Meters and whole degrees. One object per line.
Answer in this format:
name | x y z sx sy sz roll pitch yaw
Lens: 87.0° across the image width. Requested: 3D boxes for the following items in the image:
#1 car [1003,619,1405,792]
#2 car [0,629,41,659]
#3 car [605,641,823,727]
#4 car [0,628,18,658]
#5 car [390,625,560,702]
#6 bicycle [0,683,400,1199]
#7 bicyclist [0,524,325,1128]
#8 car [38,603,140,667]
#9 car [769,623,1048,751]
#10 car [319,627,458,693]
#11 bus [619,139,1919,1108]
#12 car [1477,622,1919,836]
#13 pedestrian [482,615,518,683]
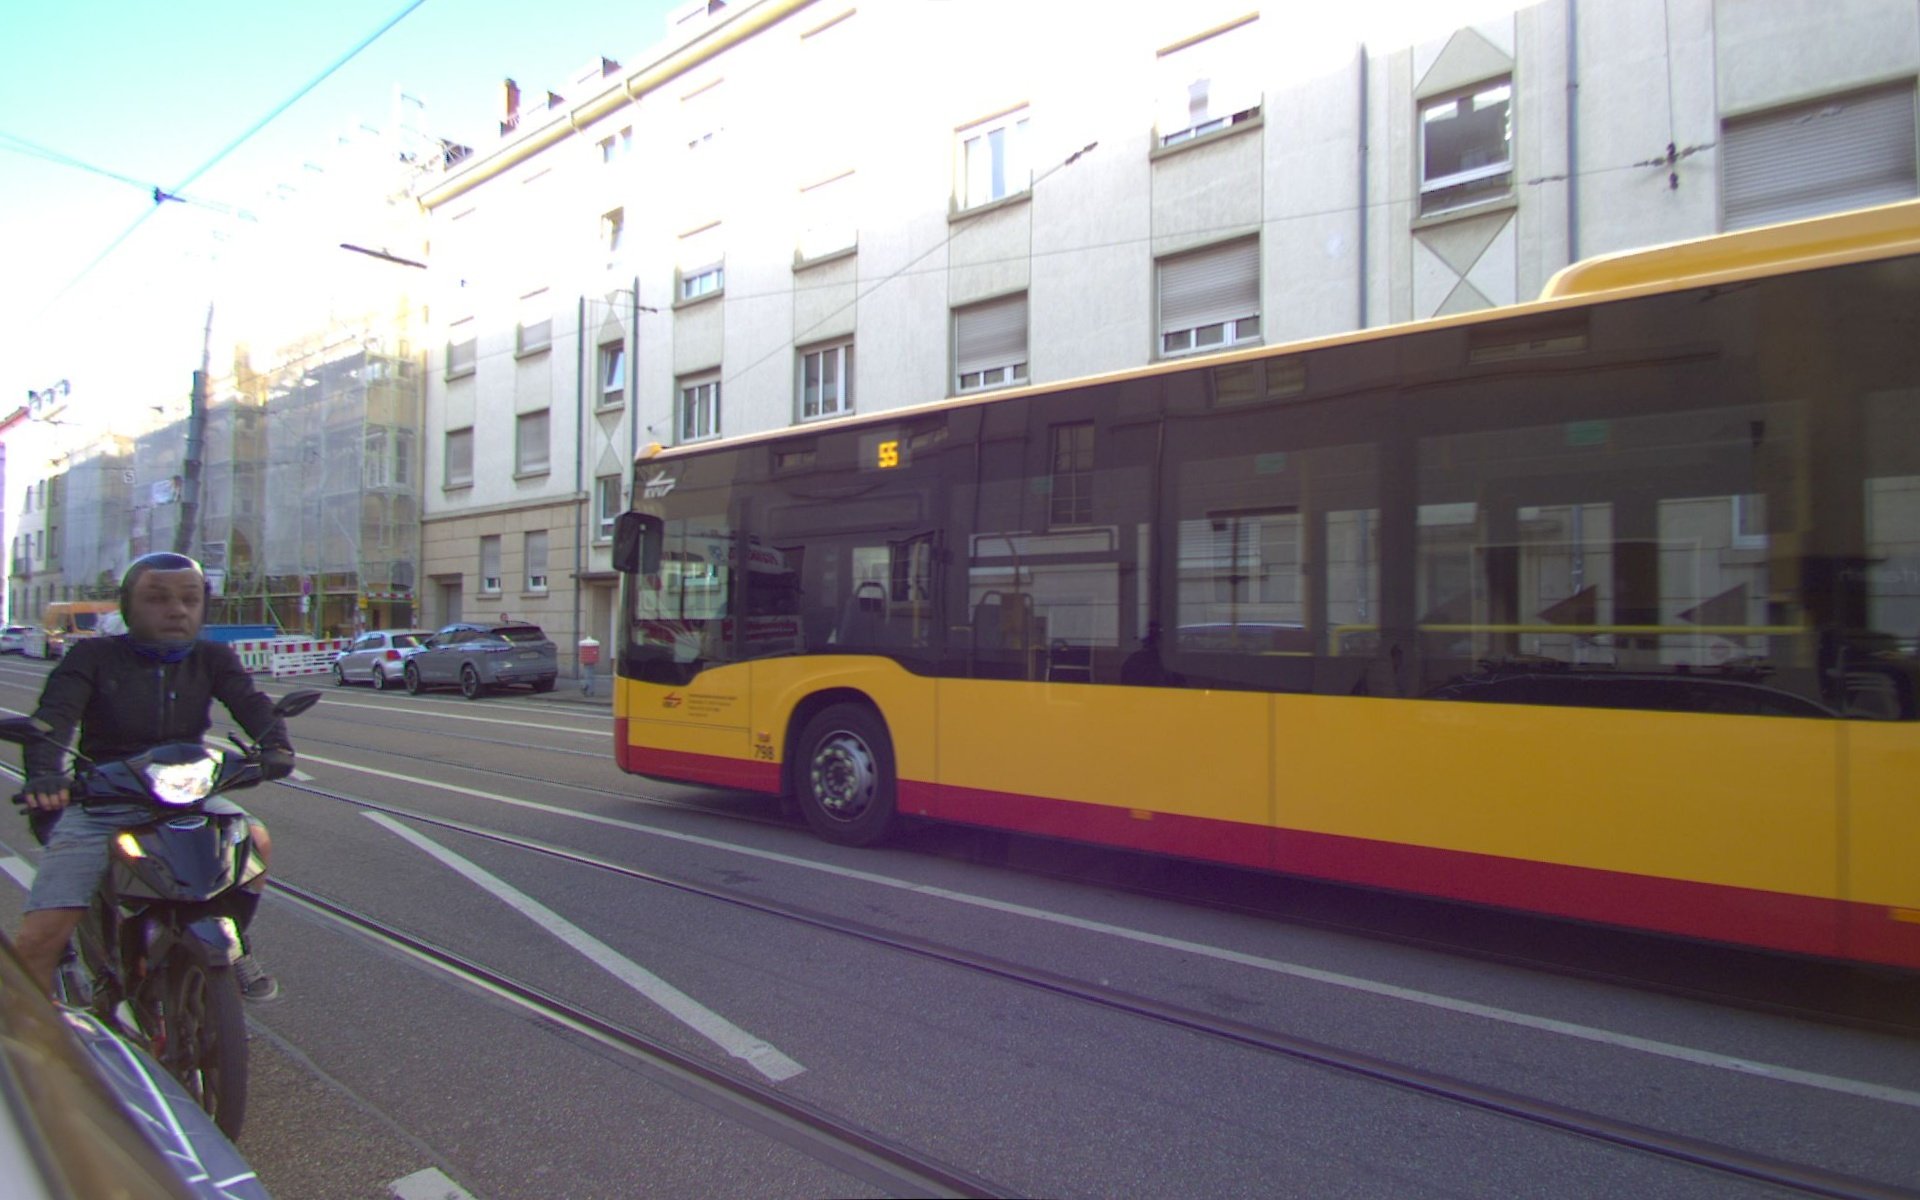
car | 2.719 1.056 11.746 4.235 1.627 1.684 0 0 36
car | -50.072 2.305 53.349 3.995 1.523 1.729 -1 -3 39
car | -4.321 1.376 17.556 3.779 1.225 1.684 0 0 37
car | -54.808 2.423 57.123 4.216 1.590 1.682 -1 -1 37
car | -10.960 1.370 22.749 4.400 1.580 1.683 -1 -3 39
bicycle | -2.574 0.896 3.129 1.971 1.186 0.731 -1 -3 38
bicyclist | -2.634 0.603 3.157 0.849 1.566 0.833 -1 -3 38
car | -36.308 1.469 42.124 5.993 2.488 2.099 -1 -3 39
car | -0.835 1.153 14.844 3.995 1.581 1.683 -1 0 39
car | -14.538 1.471 25.683 3.995 1.426 1.683 0 1 39
bus | 2.225 0.140 5.753 10.180 3.182 2.696 -1 -3 38
car | 6.973 0.978 8.592 4.380 1.521 1.683 -1 0 38
pedestrian | -11.708 1.230 25.751 0.716 1.707 0.575 -1 -1 38
